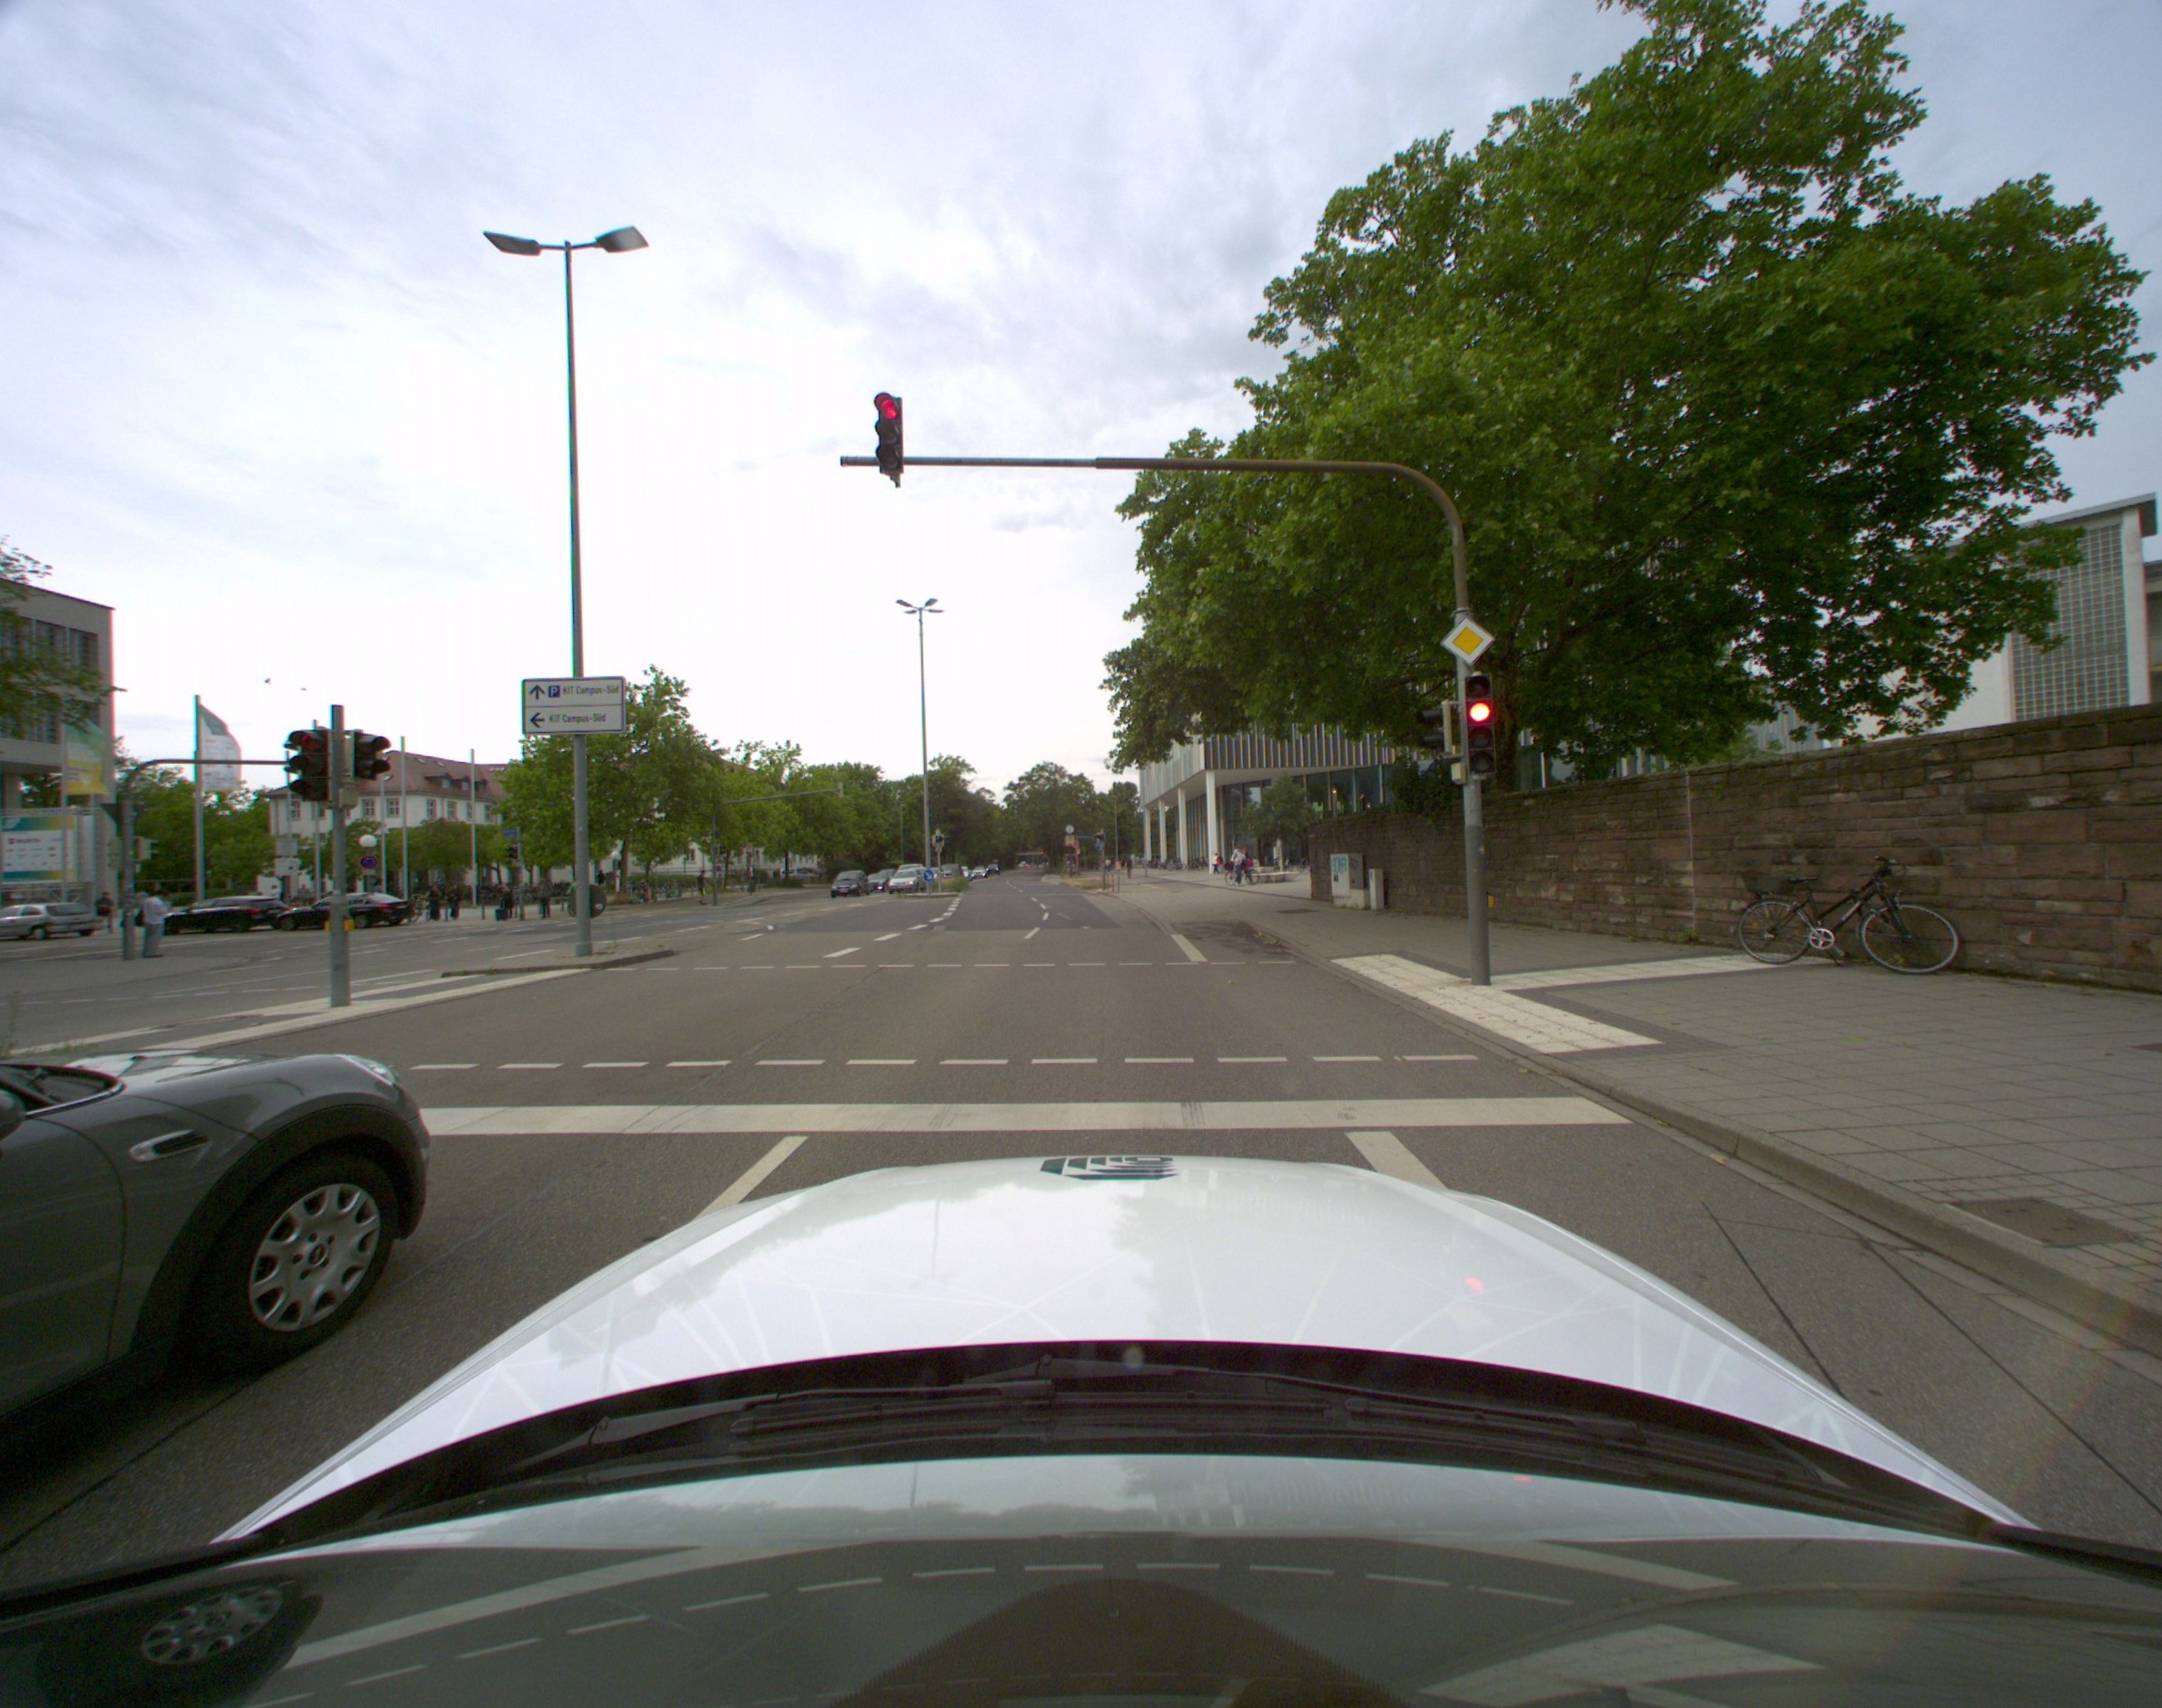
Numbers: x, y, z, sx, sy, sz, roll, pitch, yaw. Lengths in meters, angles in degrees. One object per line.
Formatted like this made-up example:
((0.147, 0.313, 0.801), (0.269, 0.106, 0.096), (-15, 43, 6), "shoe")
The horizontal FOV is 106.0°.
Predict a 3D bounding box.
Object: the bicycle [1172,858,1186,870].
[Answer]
((9.222, 0.952, 76.659), (0.608, 1.080, 1.954), (-4, 0, -13), "bicycle")

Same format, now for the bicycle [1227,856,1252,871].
((12.138, 0.717, 62.386), (0.727, 1.115, 2.196), (-3, -1, 45), "bicycle")

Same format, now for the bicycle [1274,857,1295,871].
((14.623, 0.736, 58.475), (0.663, 0.899, 1.857), (-3, -1, 39), "bicycle")

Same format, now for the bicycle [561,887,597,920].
((-22.246, 2.182, 36.145), (0.605, 1.333, 2.302), (0, -1, -11), "bicycle")

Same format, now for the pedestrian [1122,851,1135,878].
((3.705, 0.836, 63.438), (0.840, 2.013, 0.894), (-4, -1, -1), "pedestrian")

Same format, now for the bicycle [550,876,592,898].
((-38.086, 2.457, 60.835), (2.447, 1.559, 0.918), (-2, -1, -13), "bicycle")

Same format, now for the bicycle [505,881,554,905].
((-38.013, 2.682, 56.124), (2.657, 1.559, 0.779), (-2, -1, -8), "bicycle")

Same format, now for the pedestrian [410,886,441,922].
((-29.473, 2.239, 36.628), (0.825, 1.513, 0.968), (0, -1, -22), "pedestrian")

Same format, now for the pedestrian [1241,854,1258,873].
((11.171, 0.652, 54.032), (0.834, 1.206, 0.900), (-3, -1, 32), "pedestrian")

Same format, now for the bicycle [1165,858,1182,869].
((9.522, 0.991, 83.636), (1.602, 0.982, 0.556), (-5, -1, -2), "bicycle")

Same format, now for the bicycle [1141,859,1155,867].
((8.594, 1.127, 104.598), (1.602, 0.875, 0.556), (-3, -1, -2), "bicycle")

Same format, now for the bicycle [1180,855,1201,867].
((11.479, 0.743, 85.395), (1.962, 1.144, 0.652), (-5, 0, 39), "bicycle")

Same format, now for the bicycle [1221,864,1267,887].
((7.590, 0.989, 38.015), (1.950, 1.018, 0.801), (-1, -1, 38), "bicycle")

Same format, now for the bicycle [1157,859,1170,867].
((9.108, 1.002, 90.002), (1.280, 0.875, 0.556), (-3, -1, -2), "bicycle")

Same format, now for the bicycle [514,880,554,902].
((-41.689, 2.822, 62.082), (2.639, 1.559, 0.926), (-3, -1, 15), "bicycle")

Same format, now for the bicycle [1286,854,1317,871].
((15.385, 0.590, 56.821), (2.200, 1.006, 0.774), (-2, -3, -32), "bicycle")

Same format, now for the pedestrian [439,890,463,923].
((-28.650, 2.376, 37.041), (0.702, 1.428, 0.991), (0, -1, -30), "pedestrian")

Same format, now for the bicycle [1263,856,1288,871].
((14.142, 0.679, 59.204), (1.971, 1.002, 0.765), (-2, -1, -44), "bicycle")

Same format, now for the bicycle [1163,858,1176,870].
((8.631, 0.958, 79.436), (0.635, 1.140, 2.196), (-5, 0, -6), "bicycle")

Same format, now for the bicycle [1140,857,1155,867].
((8.663, 1.050, 106.600), (1.791, 1.082, 0.625), (-4, 0, -4), "bicycle")

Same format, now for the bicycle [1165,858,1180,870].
((9.313, 1.004, 83.057), (1.396, 1.043, 0.559), (-4, -1, -2), "bicycle")

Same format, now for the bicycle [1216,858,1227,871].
((11.111, 0.822, 64.485), (0.636, 1.061, 1.841), (0, -1, 2), "bicycle")

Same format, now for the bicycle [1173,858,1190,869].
((10.171, 0.936, 82.230), (1.597, 0.936, 0.570), (-5, 0, 8), "bicycle")

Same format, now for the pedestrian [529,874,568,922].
((-22.859, 1.865, 34.993), (1.185, 2.014, 1.134), (0, -1, -22), "pedestrian")

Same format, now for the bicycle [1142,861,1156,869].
((8.655, 1.415, 103.638), (1.602, 0.875, 0.556), (-3, -1, -2), "bicycle")

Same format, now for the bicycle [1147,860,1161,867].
((9.182, 1.204, 102.060), (1.602, 0.875, 0.556), (-3, -1, -2), "bicycle")

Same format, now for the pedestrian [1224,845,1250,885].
((7.108, 0.499, 37.140), (0.773, 1.795, 0.795), (-3, -1, 41), "pedestrian")

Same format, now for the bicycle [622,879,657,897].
((-31.190, 2.431, 57.565), (2.036, 1.153, 0.717), (-2, -1, -20), "bicycle")

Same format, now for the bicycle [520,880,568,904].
((-38.225, 2.665, 58.025), (2.661, 1.559, 0.918), (-2, -1, -13), "bicycle")

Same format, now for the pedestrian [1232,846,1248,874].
((11.391, 0.427, 58.387), (0.840, 2.014, 0.894), (-2, -1, -1), "pedestrian")

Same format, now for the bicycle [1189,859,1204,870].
((10.616, 0.941, 74.992), (1.496, 0.929, 0.435), (-3, 1, -41), "bicycle")
